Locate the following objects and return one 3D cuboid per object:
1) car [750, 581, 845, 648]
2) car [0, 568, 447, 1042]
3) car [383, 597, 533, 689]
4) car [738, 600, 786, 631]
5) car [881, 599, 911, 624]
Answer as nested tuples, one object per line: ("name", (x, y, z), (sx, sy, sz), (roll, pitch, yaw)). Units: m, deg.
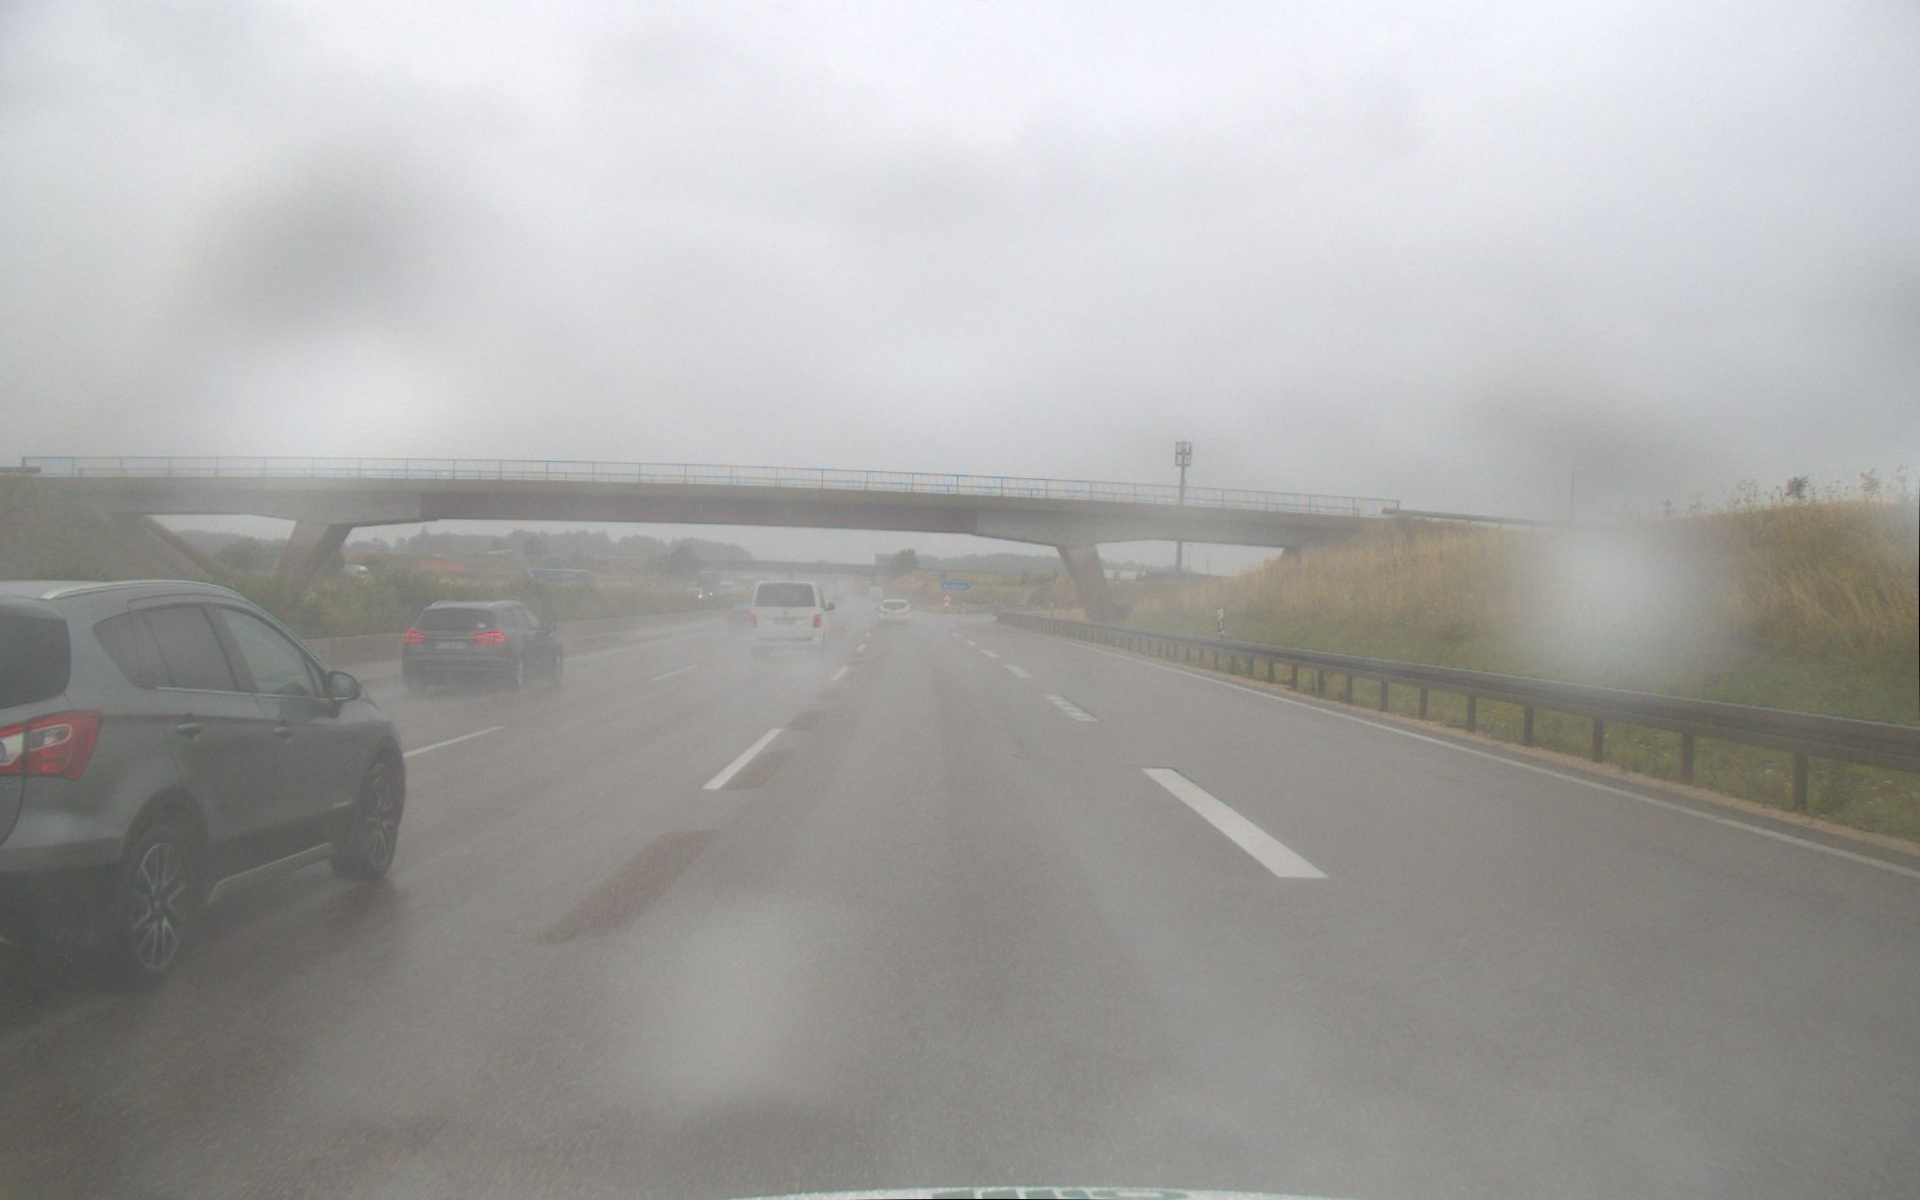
("car", (-4.112, 0.373, 42.478), (1.858, 1.613, 4.001), (1, 0, 3))
("car", (-3.828, 0.662, 7.684), (1.810, 1.539, 4.751), (0, 0, -6))
("car", (-8.113, 0.654, 27.061), (1.581, 1.378, 3.995), (1, 0, -6))
("car", (-8.508, 0.671, 71.142), (1.437, 1.279, 3.341), (0, 0, 4))
("car", (-3.176, 0.586, 82.459), (1.438, 1.229, 2.990), (1, 0, -2))
